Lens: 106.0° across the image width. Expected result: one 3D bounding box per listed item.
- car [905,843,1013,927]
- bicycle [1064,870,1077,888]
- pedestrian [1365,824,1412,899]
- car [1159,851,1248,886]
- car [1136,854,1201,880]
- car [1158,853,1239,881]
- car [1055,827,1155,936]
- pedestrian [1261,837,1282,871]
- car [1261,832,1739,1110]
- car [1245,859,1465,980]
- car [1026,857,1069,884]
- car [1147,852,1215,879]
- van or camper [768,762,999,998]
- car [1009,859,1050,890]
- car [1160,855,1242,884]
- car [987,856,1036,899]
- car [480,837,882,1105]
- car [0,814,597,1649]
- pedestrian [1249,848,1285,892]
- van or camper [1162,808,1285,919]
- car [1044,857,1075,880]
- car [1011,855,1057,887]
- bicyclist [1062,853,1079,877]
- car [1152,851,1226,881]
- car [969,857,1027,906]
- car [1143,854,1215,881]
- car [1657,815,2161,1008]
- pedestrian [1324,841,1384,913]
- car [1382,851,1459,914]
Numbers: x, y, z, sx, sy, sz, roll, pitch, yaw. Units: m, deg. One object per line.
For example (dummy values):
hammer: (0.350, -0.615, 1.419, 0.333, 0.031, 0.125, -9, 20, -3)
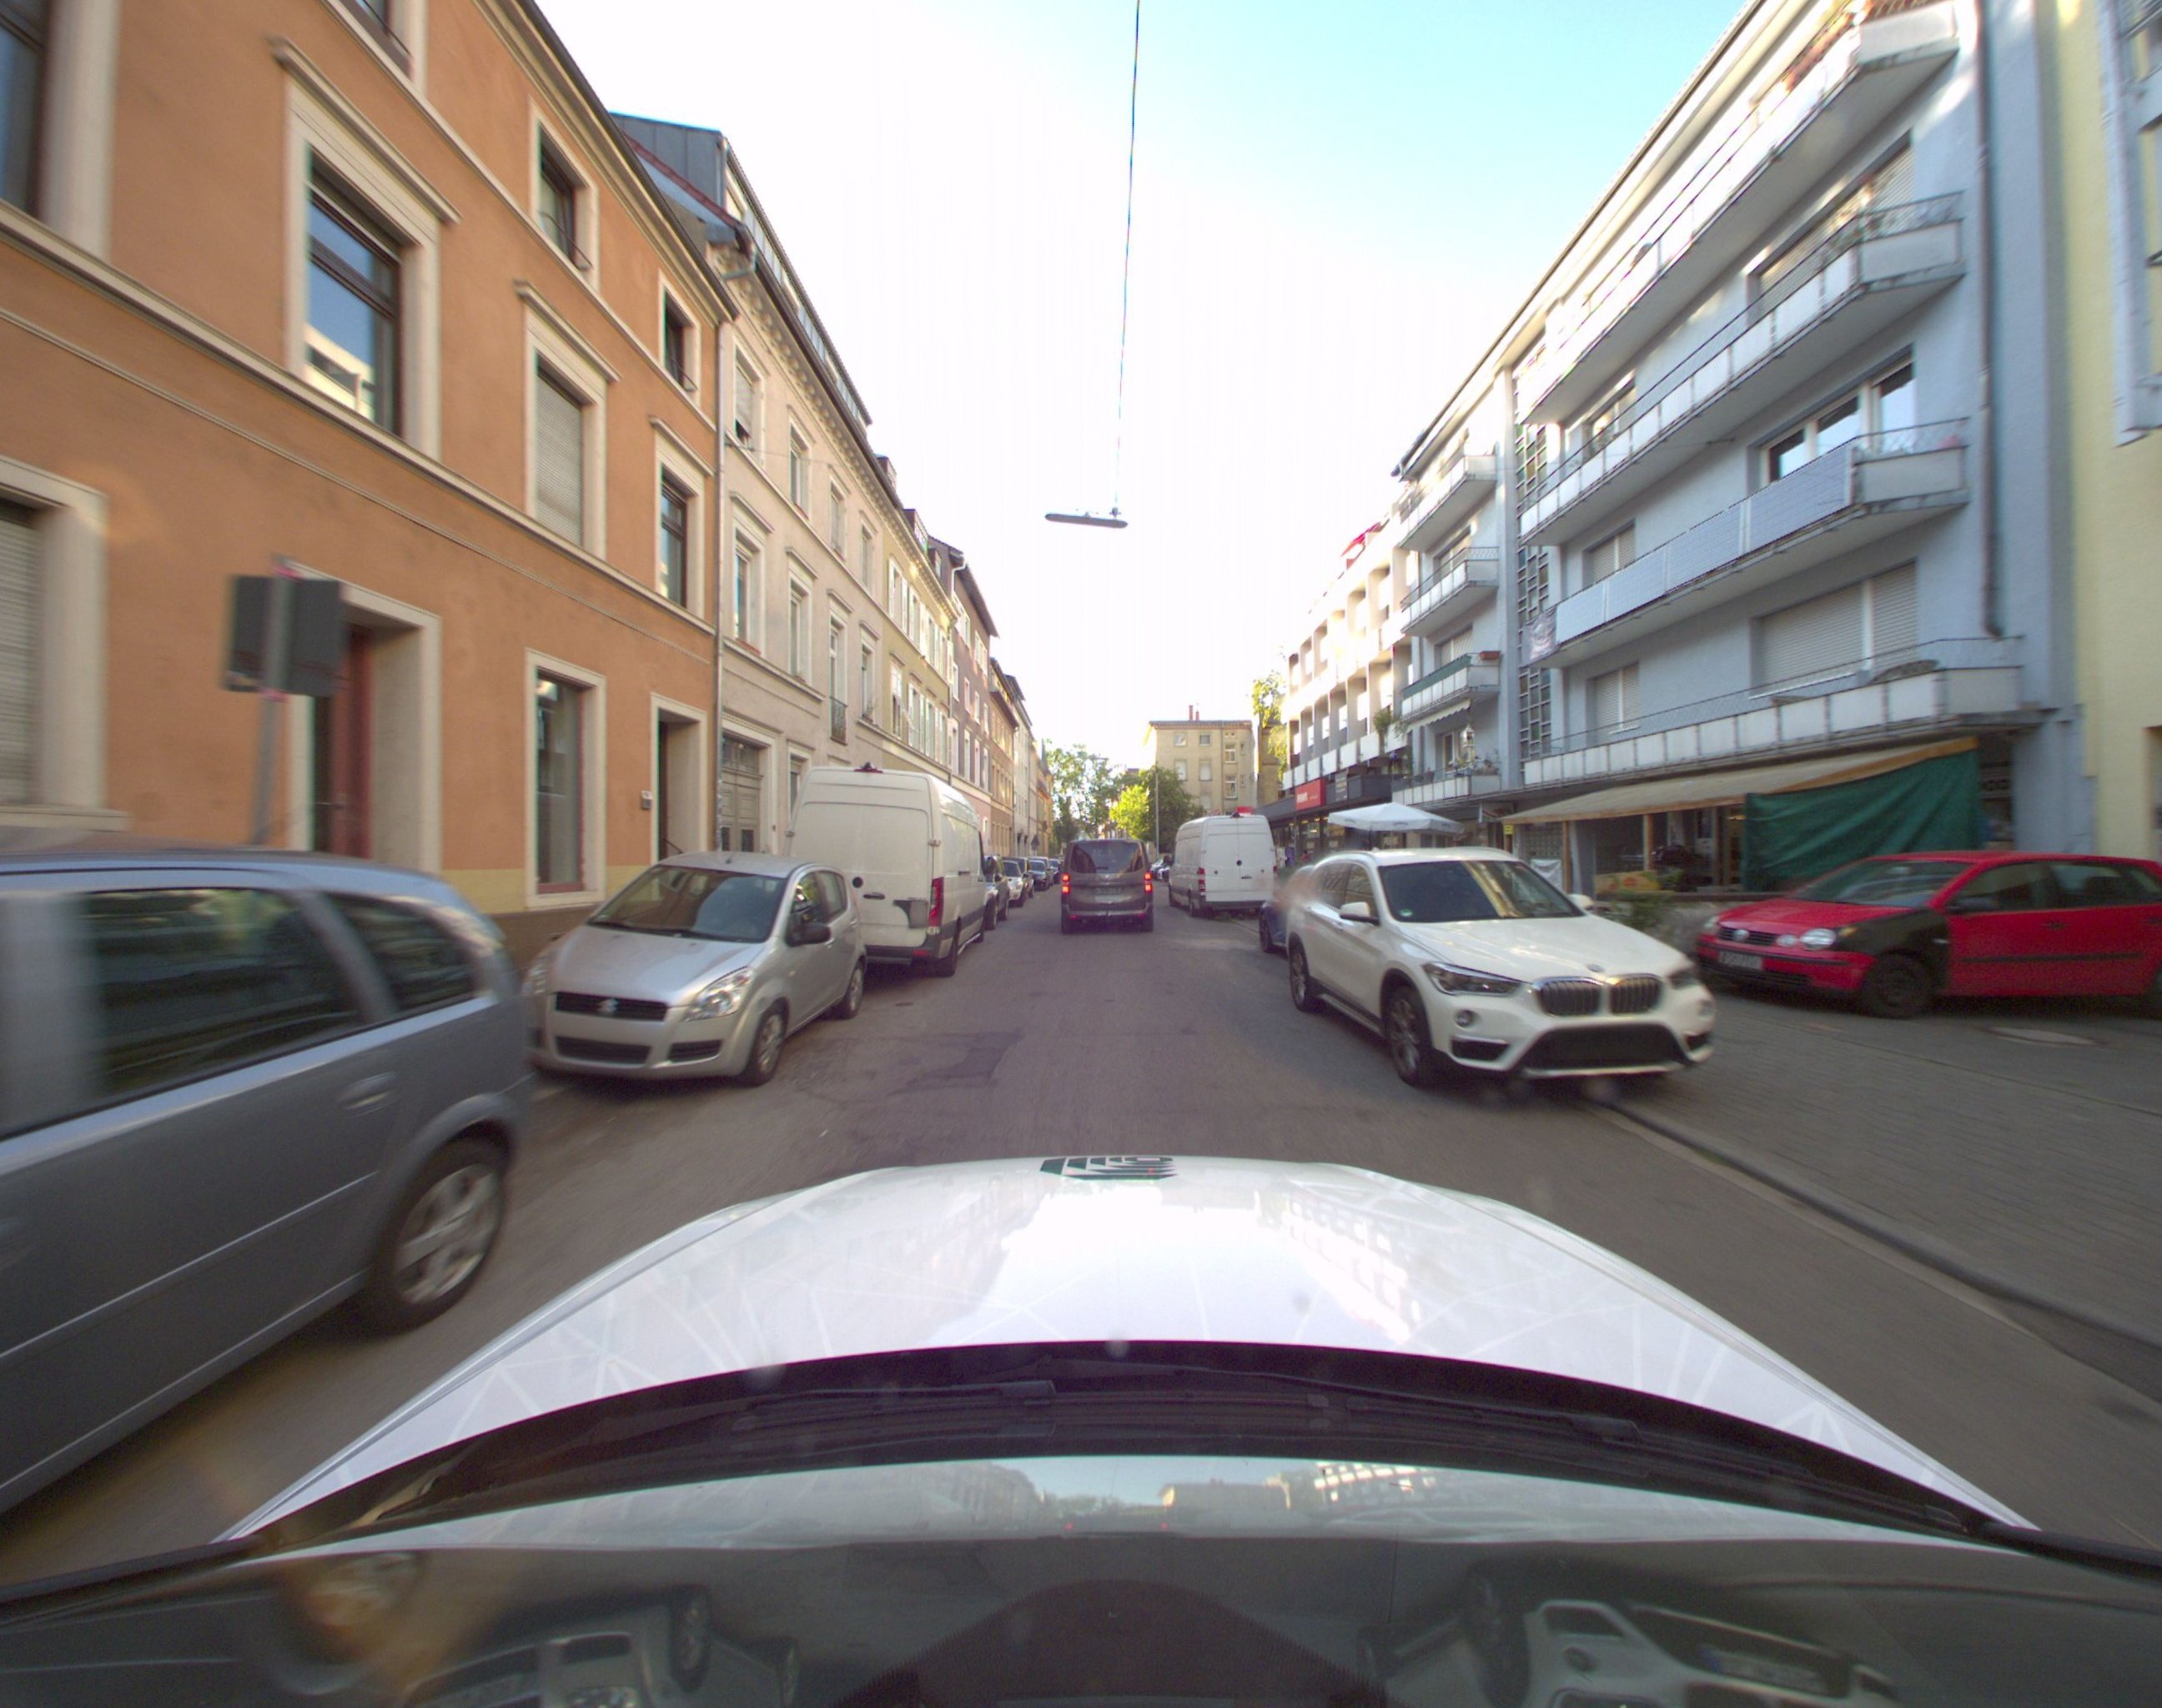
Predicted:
car: (-2.721, 0.653, 19.129, 1.857, 1.751, 4.292, 0, 0, 0)
bicycle: (-0.707, 1.653, 54.709, 0.618, 1.138, 2.260, -1, 0, 4)
pedestrian: (9.071, 0.220, 24.015, 0.874, 2.145, 0.951, -1, -1, -16)
car: (6.646, 0.790, 44.383, 4.555, 1.858, 2.000, 0, 0, -1)
car: (6.517, 0.953, 60.796, 4.564, 1.858, 1.996, 0, 0, -6)
car: (7.174, 0.798, 49.864, 4.564, 1.705, 1.996, 0, 0, -6)
car: (0.486, 0.529, 17.612, 1.851, 2.013, 4.000, -2, 0, 0)
pedestrian: (11.075, 0.028, 47.358, 1.077, 1.945, 0.875, -1, -1, 18)
car: (2.972, 0.697, 7.072, 1.717, 1.612, 4.585, 0, -1, -1)
car: (3.726, 0.795, 11.946, 1.717, 1.388, 4.293, -2, 0, -1)
car: (-2.020, 0.982, 49.944, 1.983, 1.560, 4.592, 0, 0, 6)
car: (7.141, 0.835, 58.365, 4.564, 1.858, 1.996, 0, 0, -6)
van or camper: (-2.619, 0.307, 12.893, 1.943, 2.649, 7.138, -1, 0, -1)
car: (-2.409, 0.944, 39.133, 1.783, 1.397, 4.464, 1, 0, -2)
car: (6.923, 0.884, 47.161, 4.446, 1.676, 1.794, 0, 0, -4)
car: (-2.541, 0.838, 30.249, 1.380, 1.532, 2.752, 0, 0, 4)
car: (-2.970, 0.741, 6.966, 1.585, 1.686, 3.653, 0, 0, 0)
car: (-2.954, 0.714, 1.471, 1.706, 1.644, 3.979, 2, 0, 0)
pedestrian: (7.539, 0.633, 33.044, 0.939, 1.720, 1.052, -1, -1, -33)
van or camper: (3.758, 0.246, 23.128, 2.093, 2.602, 7.510, -1, 0, 0)
car: (-1.587, 1.040, 59.563, 2.139, 1.560, 4.581, 0, 0, -2)
car: (-2.493, 0.874, 44.047, 1.985, 1.605, 4.588, 0, 0, 3)
bicyclist: (-0.737, 0.742, 55.007, 1.029, 1.578, 0.834, -1, 0, 5)
car: (6.950, 0.768, 52.850, 4.468, 1.858, 1.881, 0, 0, -6)
car: (-2.644, 0.846, 26.699, 1.707, 1.497, 3.851, 0, 0, -3)
car: (6.663, 0.913, 55.605, 4.564, 1.792, 1.996, 0, 0, -6)
car: (8.101, 0.509, 7.888, 3.883, 1.607, 1.694, 1, 0, 0)
pedestrian: (6.175, 0.515, 18.463, 0.874, 1.555, 0.869, -3, 0, -21)
car: (8.426, 0.658, 20.135, 1.585, 1.416, 3.247, -1, 0, 24)
